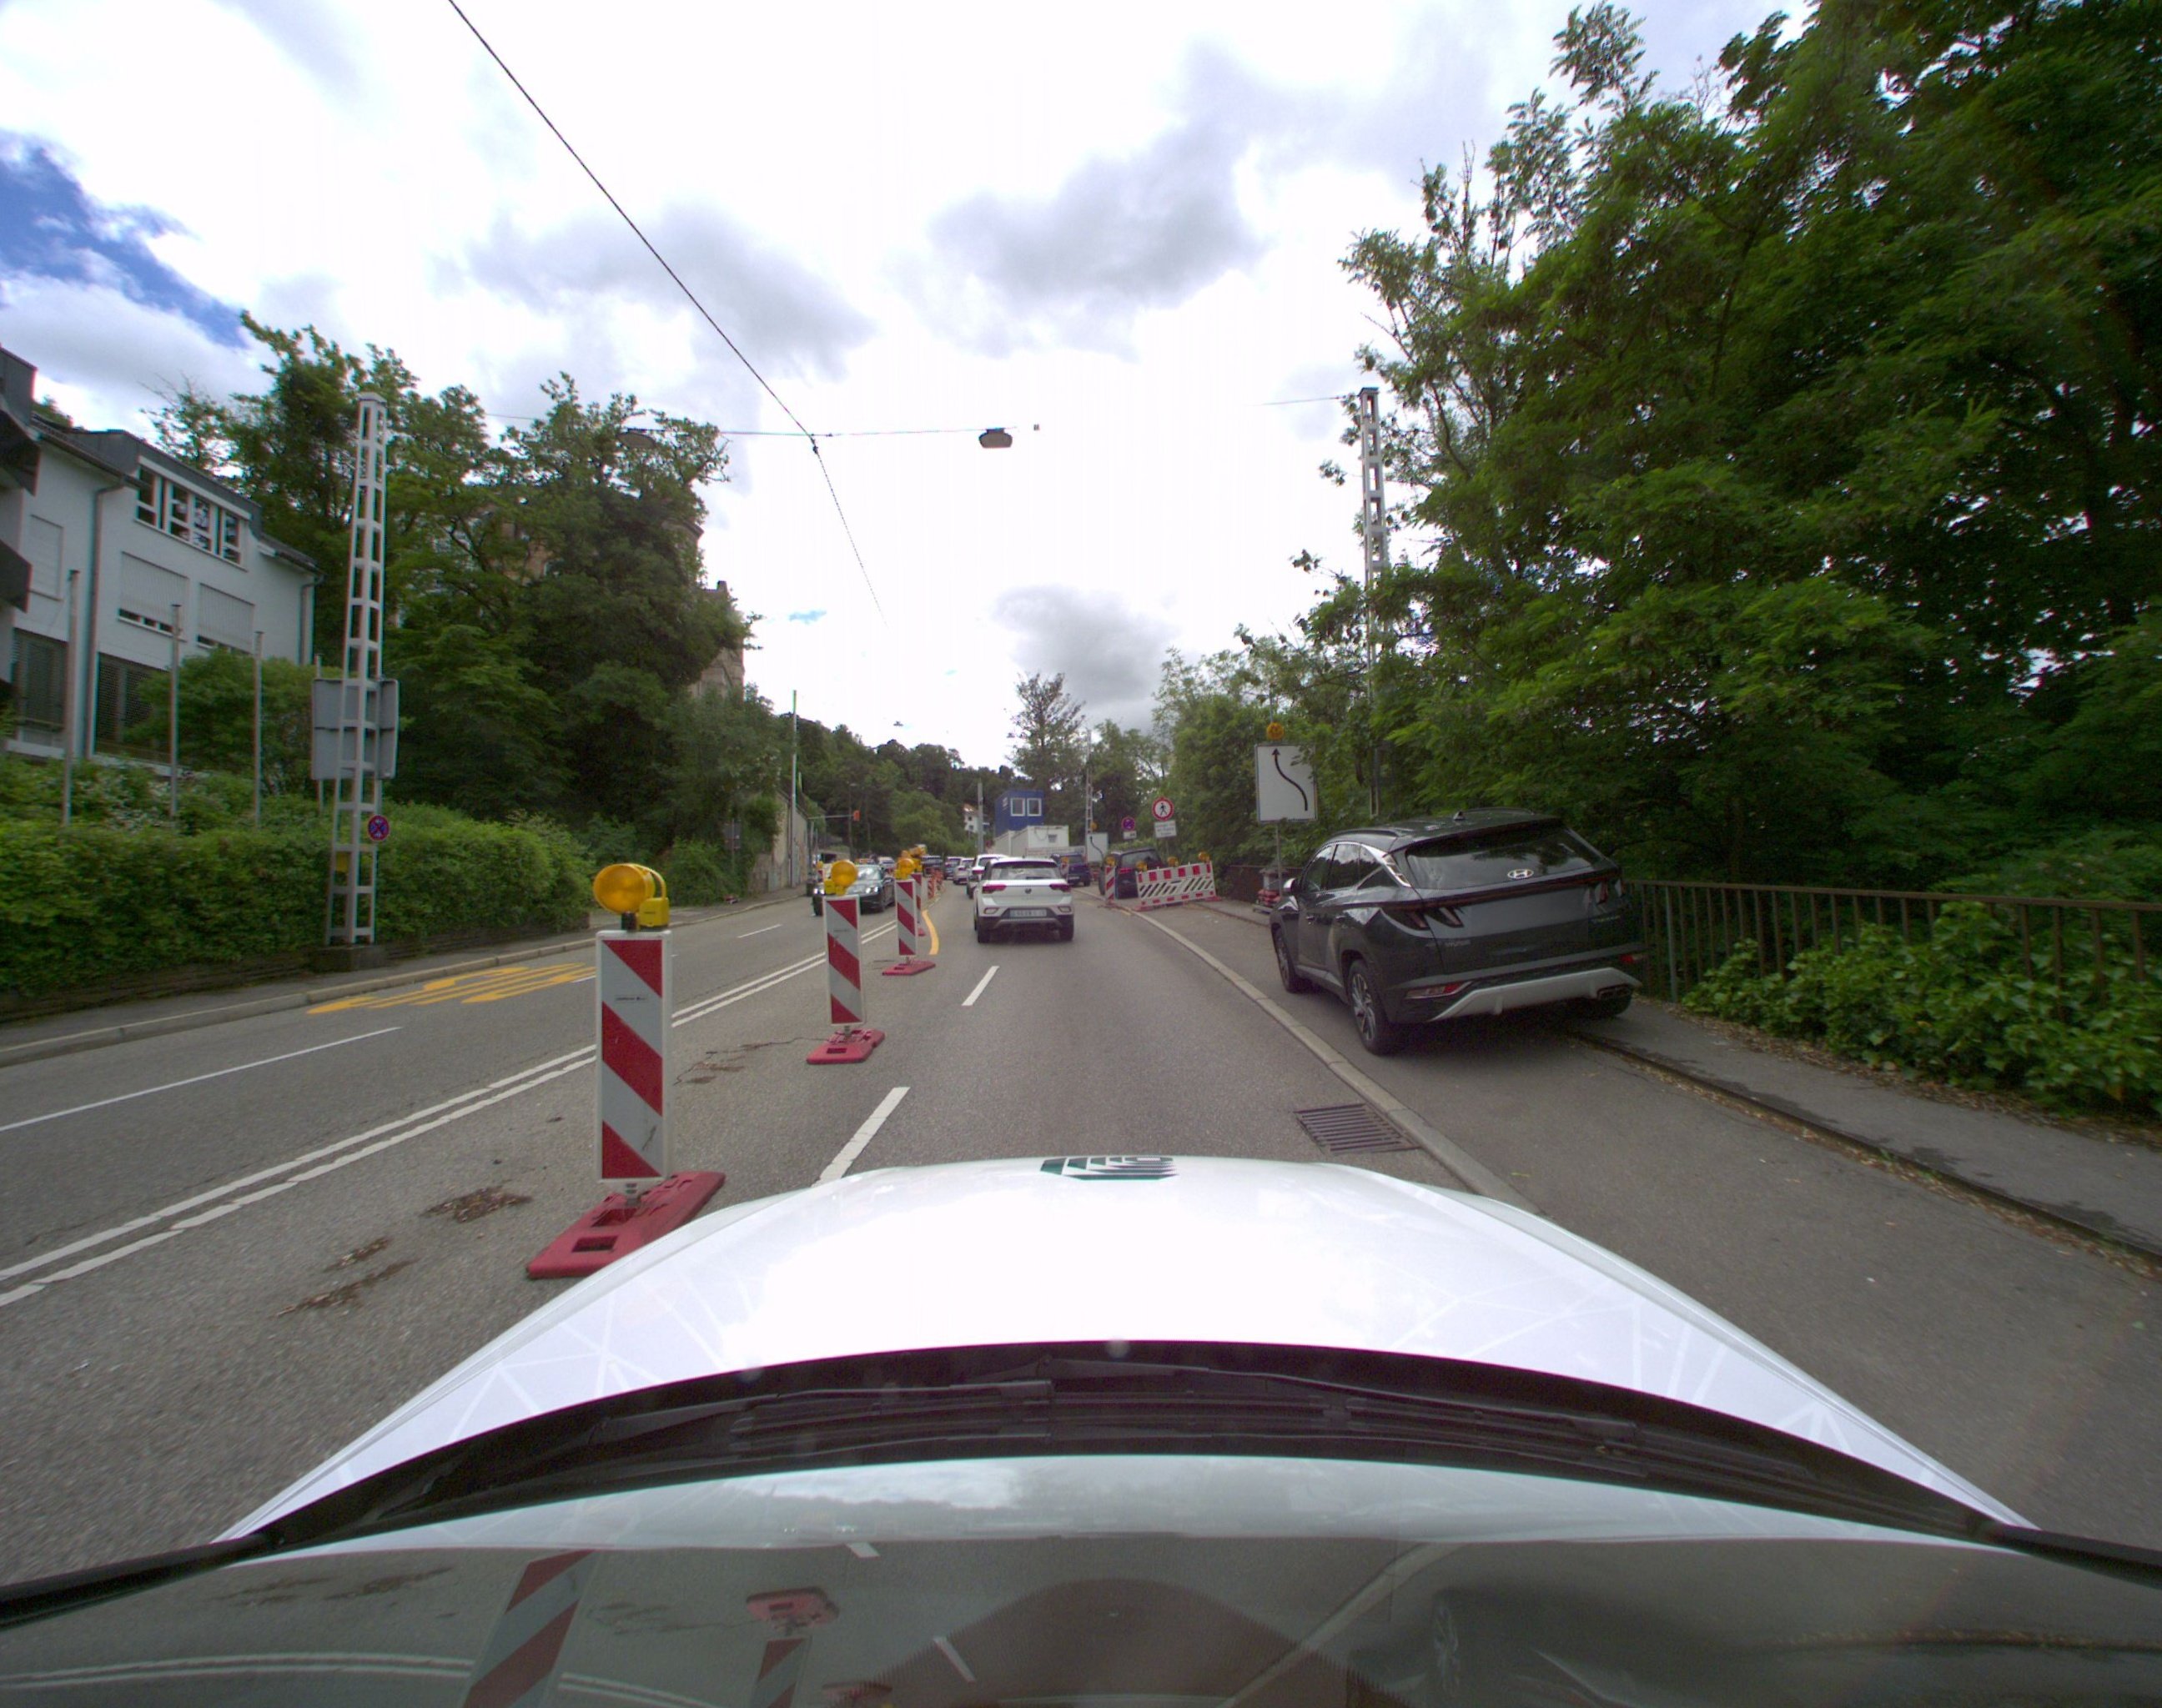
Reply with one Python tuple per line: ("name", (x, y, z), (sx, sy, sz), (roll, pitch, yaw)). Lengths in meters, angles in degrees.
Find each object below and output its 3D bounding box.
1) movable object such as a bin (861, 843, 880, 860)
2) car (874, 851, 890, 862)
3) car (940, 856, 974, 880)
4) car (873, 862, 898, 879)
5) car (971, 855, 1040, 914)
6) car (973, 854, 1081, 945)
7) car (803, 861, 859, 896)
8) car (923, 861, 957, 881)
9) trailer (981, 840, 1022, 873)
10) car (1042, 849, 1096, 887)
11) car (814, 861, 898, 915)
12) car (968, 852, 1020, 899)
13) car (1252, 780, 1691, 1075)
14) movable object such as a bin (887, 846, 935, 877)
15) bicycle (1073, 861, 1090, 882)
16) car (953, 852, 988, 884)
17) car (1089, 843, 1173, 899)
("movable object such as a bin", (-34.791, -0.406, 134.766), (2.209, 2.663, 4.933), (1, -1, -6))
("car", (-29.002, 0.416, 118.632), (1.800, 1.510, 3.973), (0, -1, -20))
("car", (-8.406, 0.940, 55.035), (1.798, 1.510, 3.979), (-1, 0, -15))
("car", (-18.915, 1.558, 78.721), (1.801, 1.510, 3.970), (-1, 0, -22))
("car", (-2.280, 0.828, 23.861), (1.808, 1.531, 3.990), (-1, 0, -7))
("car", (-1.195, 0.797, 16.202), (1.809, 1.531, 3.988), (-1, 0, -9))
("car", (-11.455, 1.080, 37.584), (1.798, 1.373, 4.375), (-3, 0, -8))
("car", (-11.169, 1.295, 64.330), (1.801, 1.510, 3.970), (-1, 0, -22))
("trailer", (-6.633, 0.185, 67.145), (2.114, 2.550, 5.084), (-2, 0, -20))
("car", (-0.670, 0.663, 40.079), (1.840, 1.642, 4.486), (-5, 0, -10))
("car", (-6.786, 0.978, 24.981), (1.820, 1.391, 4.426), (-3, 0, -8))
("car", (-3.397, 0.775, 31.249), (1.809, 1.663, 3.988), (-1, 0, -9))
("car", (2.916, 0.471, 7.303), (1.846, 1.673, 4.281), (-7, 0, 2))
("movable object such as a bin", (-17.715, 0.795, 84.584), (2.827, 3.071, 7.752), (1, -1, -28))
("bicycle", (0.013, 0.955, 45.135), (0.499, 1.107, 1.793), (-3, 0, -11))
("car", (-6.132, 0.769, 45.082), (1.809, 1.663, 3.988), (-1, 0, -9))
("car", (1.719, 0.585, 29.730), (1.862, 1.674, 4.630), (-6, 1, -10))
